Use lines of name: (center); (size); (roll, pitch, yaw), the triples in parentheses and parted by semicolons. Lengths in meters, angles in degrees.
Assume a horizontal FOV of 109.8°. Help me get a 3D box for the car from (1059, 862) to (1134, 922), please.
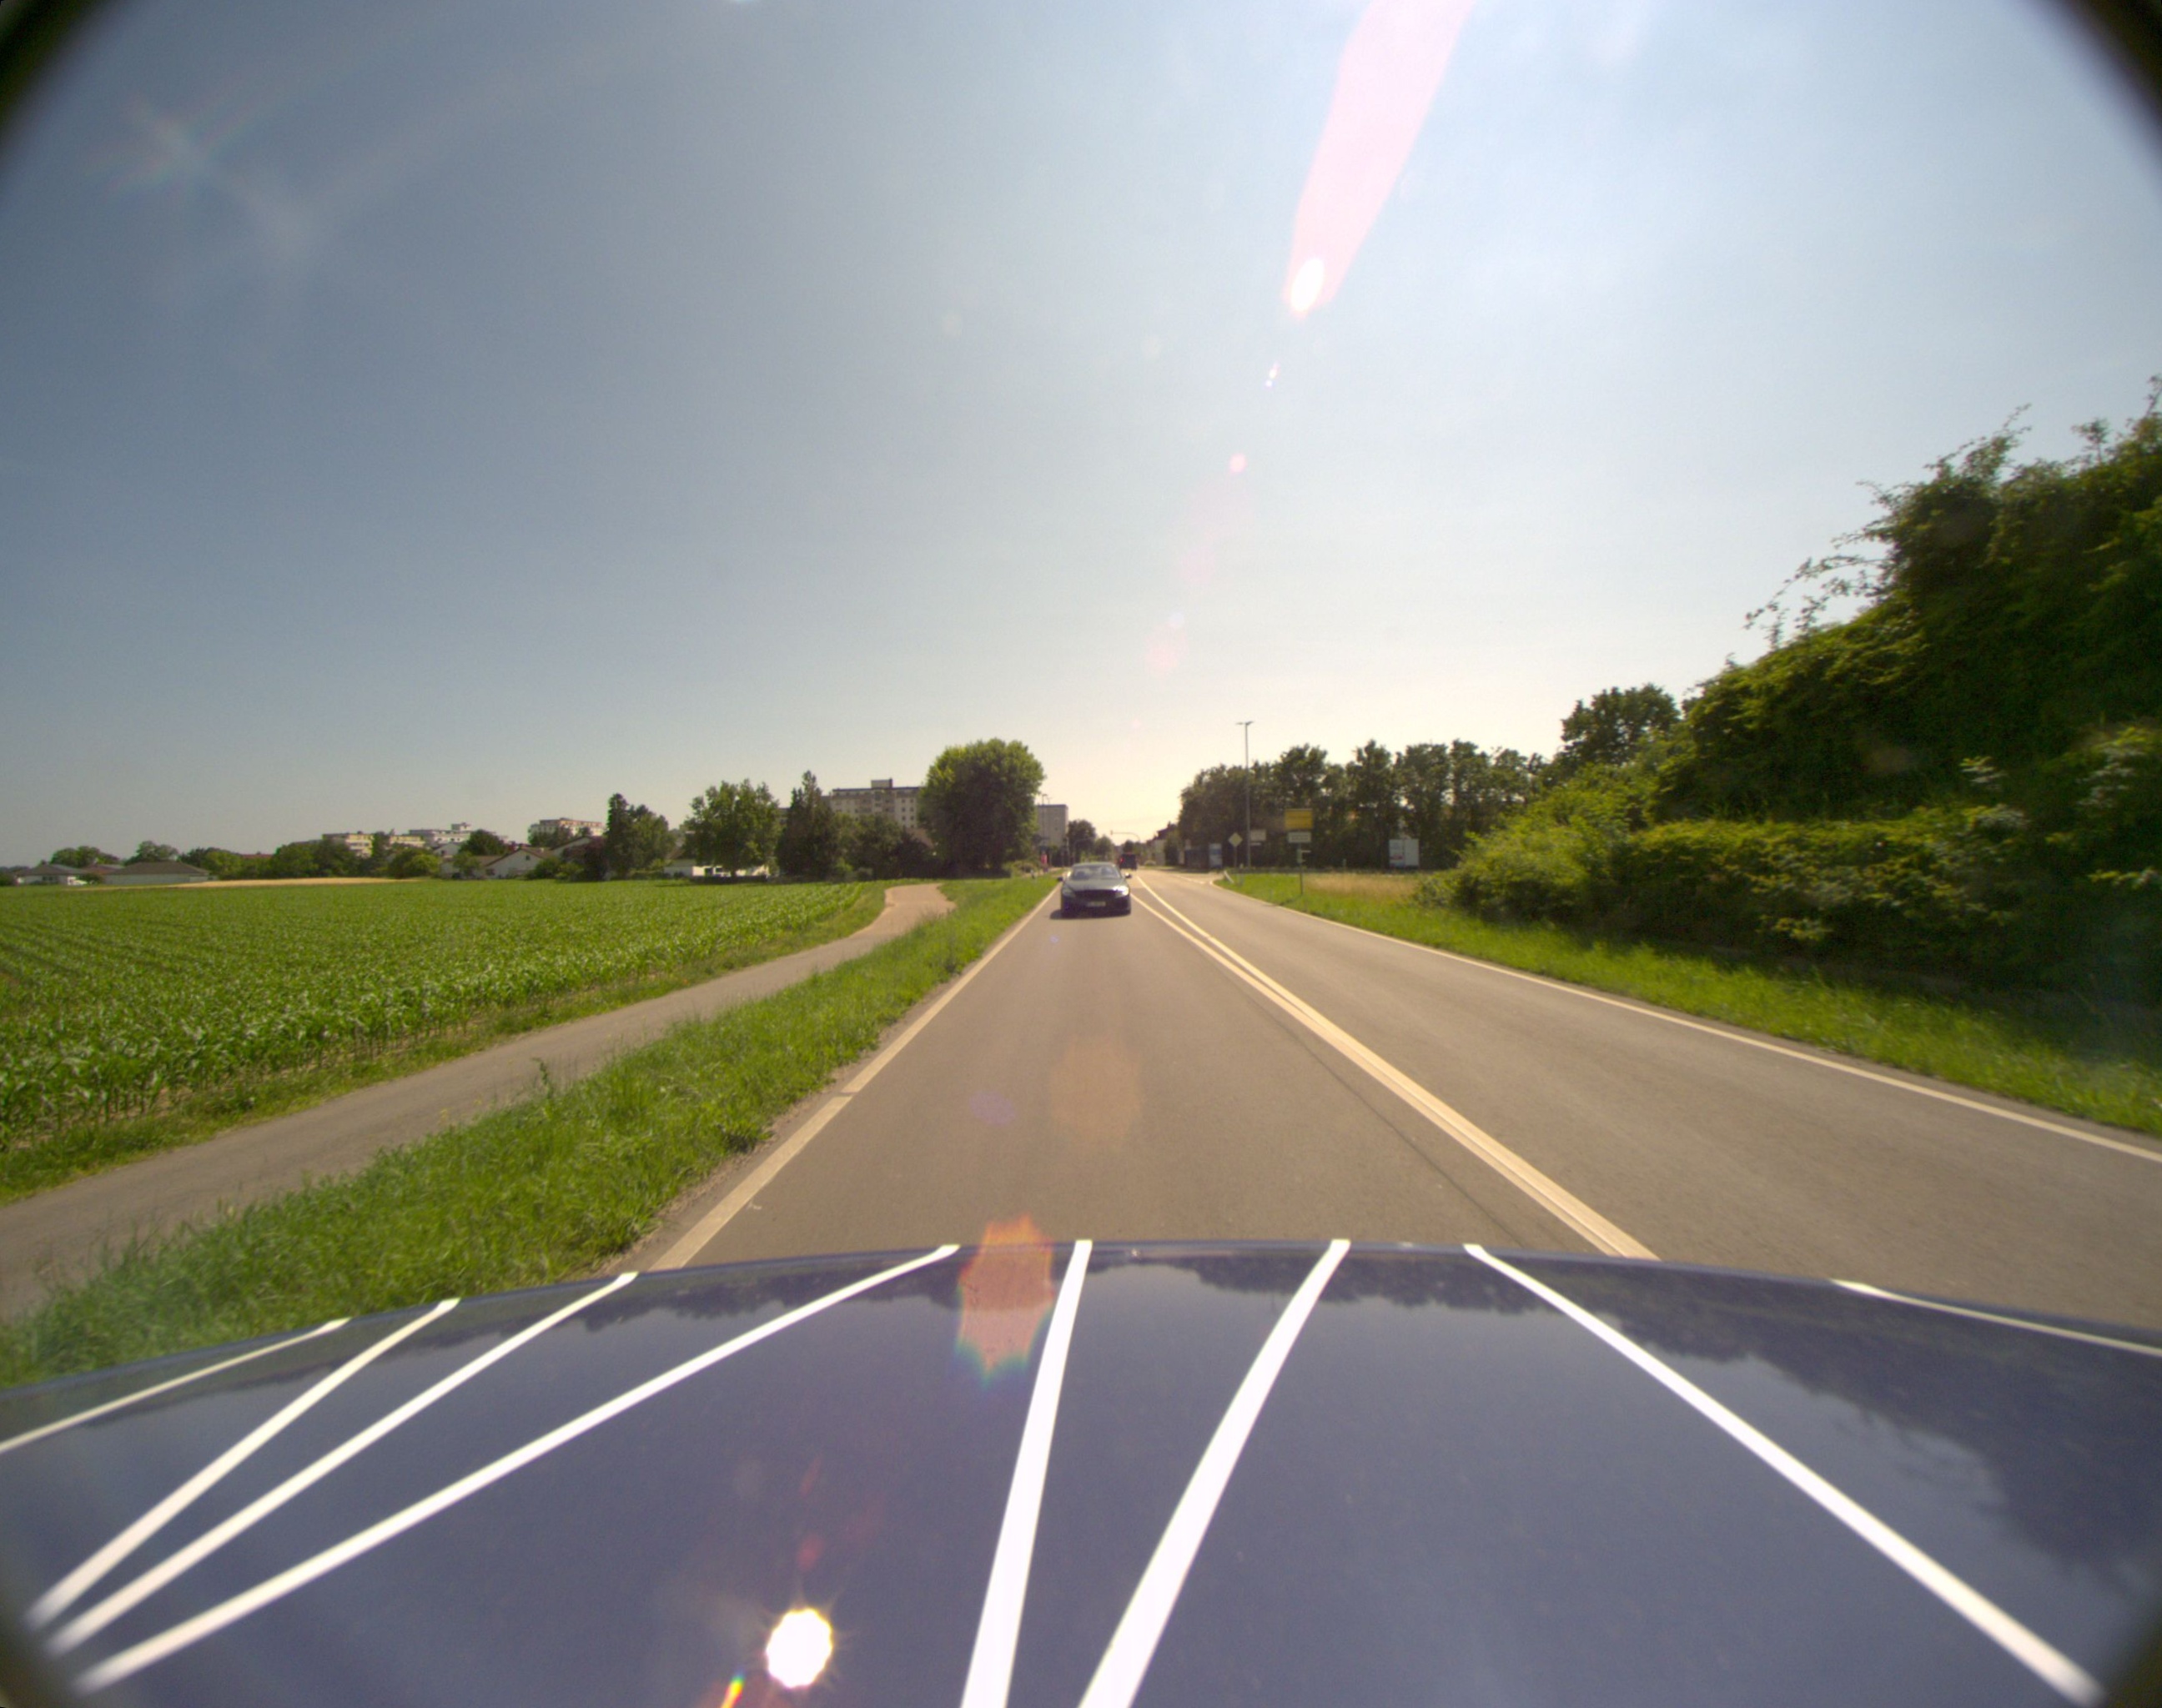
car: (0.376, 1.008, 22.092); (1.889, 1.429, 4.838); (-2, 0, 0)

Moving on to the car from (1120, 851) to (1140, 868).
car: (5.646, 0.602, 88.298); (2.149, 1.940, 5.247); (0, 0, 1)
